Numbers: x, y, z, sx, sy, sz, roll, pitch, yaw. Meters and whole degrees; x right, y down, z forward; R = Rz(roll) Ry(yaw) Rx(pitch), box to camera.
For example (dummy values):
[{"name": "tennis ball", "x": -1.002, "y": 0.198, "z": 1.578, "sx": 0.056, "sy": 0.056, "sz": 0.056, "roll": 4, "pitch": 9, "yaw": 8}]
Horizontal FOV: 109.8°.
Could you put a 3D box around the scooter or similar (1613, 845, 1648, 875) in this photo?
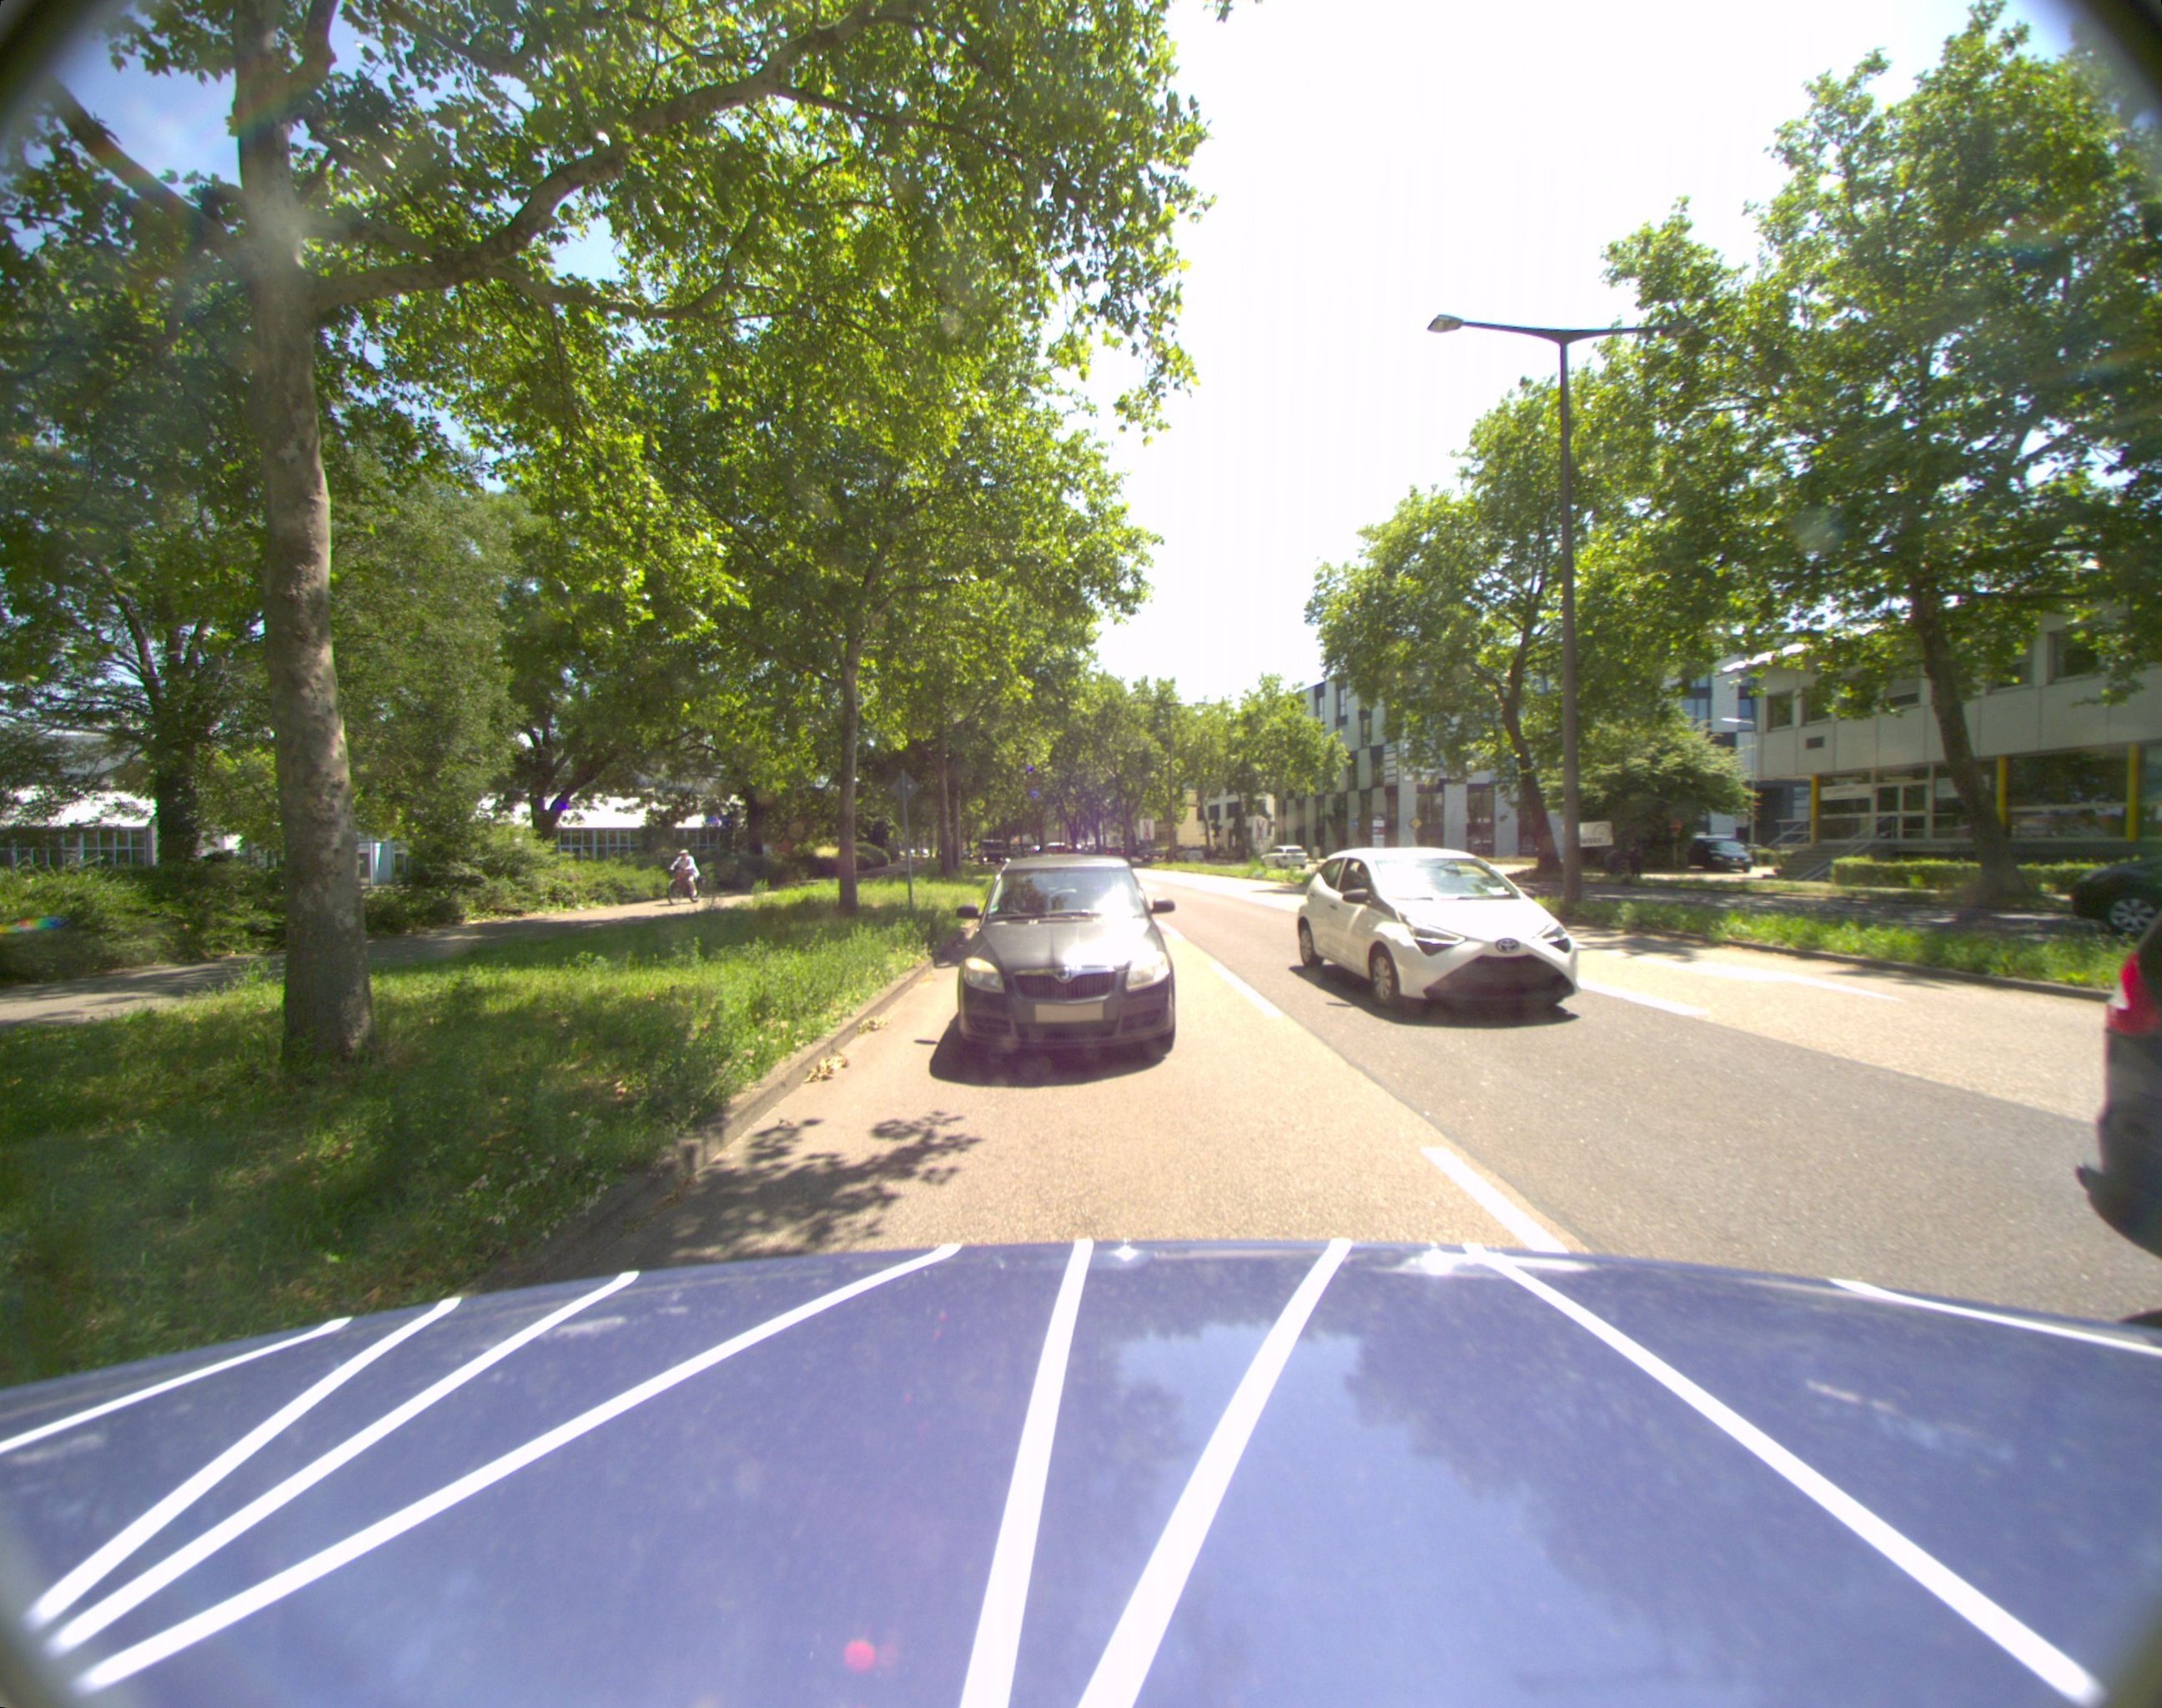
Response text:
[{"name": "scooter or similar", "x": 21.378, "y": 0.224, "z": 29.566, "sx": 0.680, "sy": 1.157, "sz": 0.858, "roll": -1, "pitch": 1, "yaw": -6}]

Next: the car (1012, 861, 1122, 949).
[{"name": "car", "x": -0.248, "y": 0.871, "z": 14.550, "sx": 1.791, "sy": 1.325, "sz": 3.742, "roll": -2, "pitch": 1, "yaw": 0}]

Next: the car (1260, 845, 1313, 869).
[{"name": "car", "x": 12.943, "y": 0.145, "z": 48.114, "sx": 1.859, "sy": 1.410, "sz": 4.545, "roll": -1, "pitch": 1, "yaw": -4}]

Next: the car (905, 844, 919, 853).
[{"name": "car", "x": -37.137, "y": -1.230, "z": 166.943, "sx": 2.002, "sy": 1.827, "sz": 3.991, "roll": -1, "pitch": 1, "yaw": -25}]

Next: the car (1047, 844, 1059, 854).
[{"name": "car", "x": -4.228, "y": -0.793, "z": 116.146, "sx": 1.537, "sy": 1.519, "sz": 2.852, "roll": -1, "pitch": 1, "yaw": -8}]

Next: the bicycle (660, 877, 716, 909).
[{"name": "bicycle", "x": -10.714, "y": 1.051, "z": 20.753, "sx": 0.464, "sy": 0.760, "sz": 1.669, "roll": 0, "pitch": 1, "yaw": 8}]

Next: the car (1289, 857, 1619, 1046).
[{"name": "car", "x": 3.478, "y": 0.790, "z": 7.892, "sx": 1.623, "sy": 1.437, "sz": 3.651, "roll": 0, "pitch": 1, "yaw": 0}]

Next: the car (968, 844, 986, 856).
[{"name": "car", "x": -14.381, "y": -0.546, "z": 105.281, "sx": 2.001, "sy": 1.608, "sz": 3.994, "roll": -1, "pitch": 1, "yaw": -14}]

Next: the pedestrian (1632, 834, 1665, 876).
[{"name": "pedestrian", "x": 21.454, "y": 0.019, "z": 28.734, "sx": 0.643, "sy": 1.551, "sz": 0.790, "roll": -1, "pitch": 1, "yaw": -7}]

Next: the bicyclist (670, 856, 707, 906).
[{"name": "bicyclist", "x": -10.766, "y": 0.723, "z": 20.853, "sx": 0.600, "sy": 1.331, "sz": 0.666, "roll": 0, "pitch": 1, "yaw": 6}]

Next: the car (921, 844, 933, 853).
[{"name": "car", "x": -31.472, "y": -1.126, "z": 155.153, "sx": 2.002, "sy": 1.827, "sz": 3.993, "roll": -1, "pitch": 1, "yaw": -20}]

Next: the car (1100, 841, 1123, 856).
[{"name": "car", "x": 3.413, "y": -0.584, "z": 85.823, "sx": 1.955, "sy": 1.646, "sz": 4.618, "roll": -1, "pitch": 1, "yaw": -6}]

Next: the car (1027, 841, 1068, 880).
[{"name": "car", "x": -1.715, "y": 0.301, "z": 38.852, "sx": 1.999, "sy": 1.871, "sz": 3.998, "roll": -1, "pitch": 1, "yaw": -3}]

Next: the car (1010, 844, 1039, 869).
[{"name": "car", "x": -4.342, "y": 0.161, "z": 57.885, "sx": 2.000, "sy": 1.783, "sz": 3.997, "roll": -1, "pitch": 1, "yaw": -7}]

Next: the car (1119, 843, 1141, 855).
[{"name": "car", "x": 5.926, "y": -0.577, "z": 92.036, "sx": 1.757, "sy": 1.435, "sz": 3.668, "roll": -1, "pitch": 1, "yaw": -11}]

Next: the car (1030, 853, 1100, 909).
[{"name": "car", "x": -0.454, "y": 0.736, "z": 22.611, "sx": 1.878, "sy": 1.448, "sz": 3.785, "roll": -2, "pitch": 1, "yaw": 0}]

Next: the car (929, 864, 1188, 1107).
[{"name": "car", "x": -0.157, "y": 0.879, "z": 6.878, "sx": 1.654, "sy": 1.454, "sz": 3.864, "roll": -1, "pitch": 1, "yaw": 0}]

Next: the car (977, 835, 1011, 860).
[{"name": "car", "x": -9.457, "y": -0.698, "z": 82.166, "sx": 2.921, "sy": 2.639, "sz": 6.358, "roll": -1, "pitch": 1, "yaw": -12}]

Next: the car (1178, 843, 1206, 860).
[{"name": "car", "x": 10.192, "y": -0.234, "z": 70.113, "sx": 1.737, "sy": 1.451, "sz": 3.671, "roll": -1, "pitch": 1, "yaw": -6}]

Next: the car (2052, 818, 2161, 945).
[{"name": "car", "x": 15.165, "y": 0.358, "z": 8.866, "sx": 1.916, "sy": 1.669, "sz": 4.442, "roll": -1, "pitch": 1, "yaw": -2}]

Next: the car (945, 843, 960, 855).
[{"name": "car", "x": -20.925, "y": -0.826, "z": 123.464, "sx": 2.001, "sy": 1.827, "sz": 3.994, "roll": -1, "pitch": 1, "yaw": -16}]

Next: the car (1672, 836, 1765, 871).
[{"name": "car", "x": 32.062, "y": -0.049, "z": 38.333, "sx": 1.819, "sy": 1.638, "sz": 3.527, "roll": -2, "pitch": 1, "yaw": 2}]
